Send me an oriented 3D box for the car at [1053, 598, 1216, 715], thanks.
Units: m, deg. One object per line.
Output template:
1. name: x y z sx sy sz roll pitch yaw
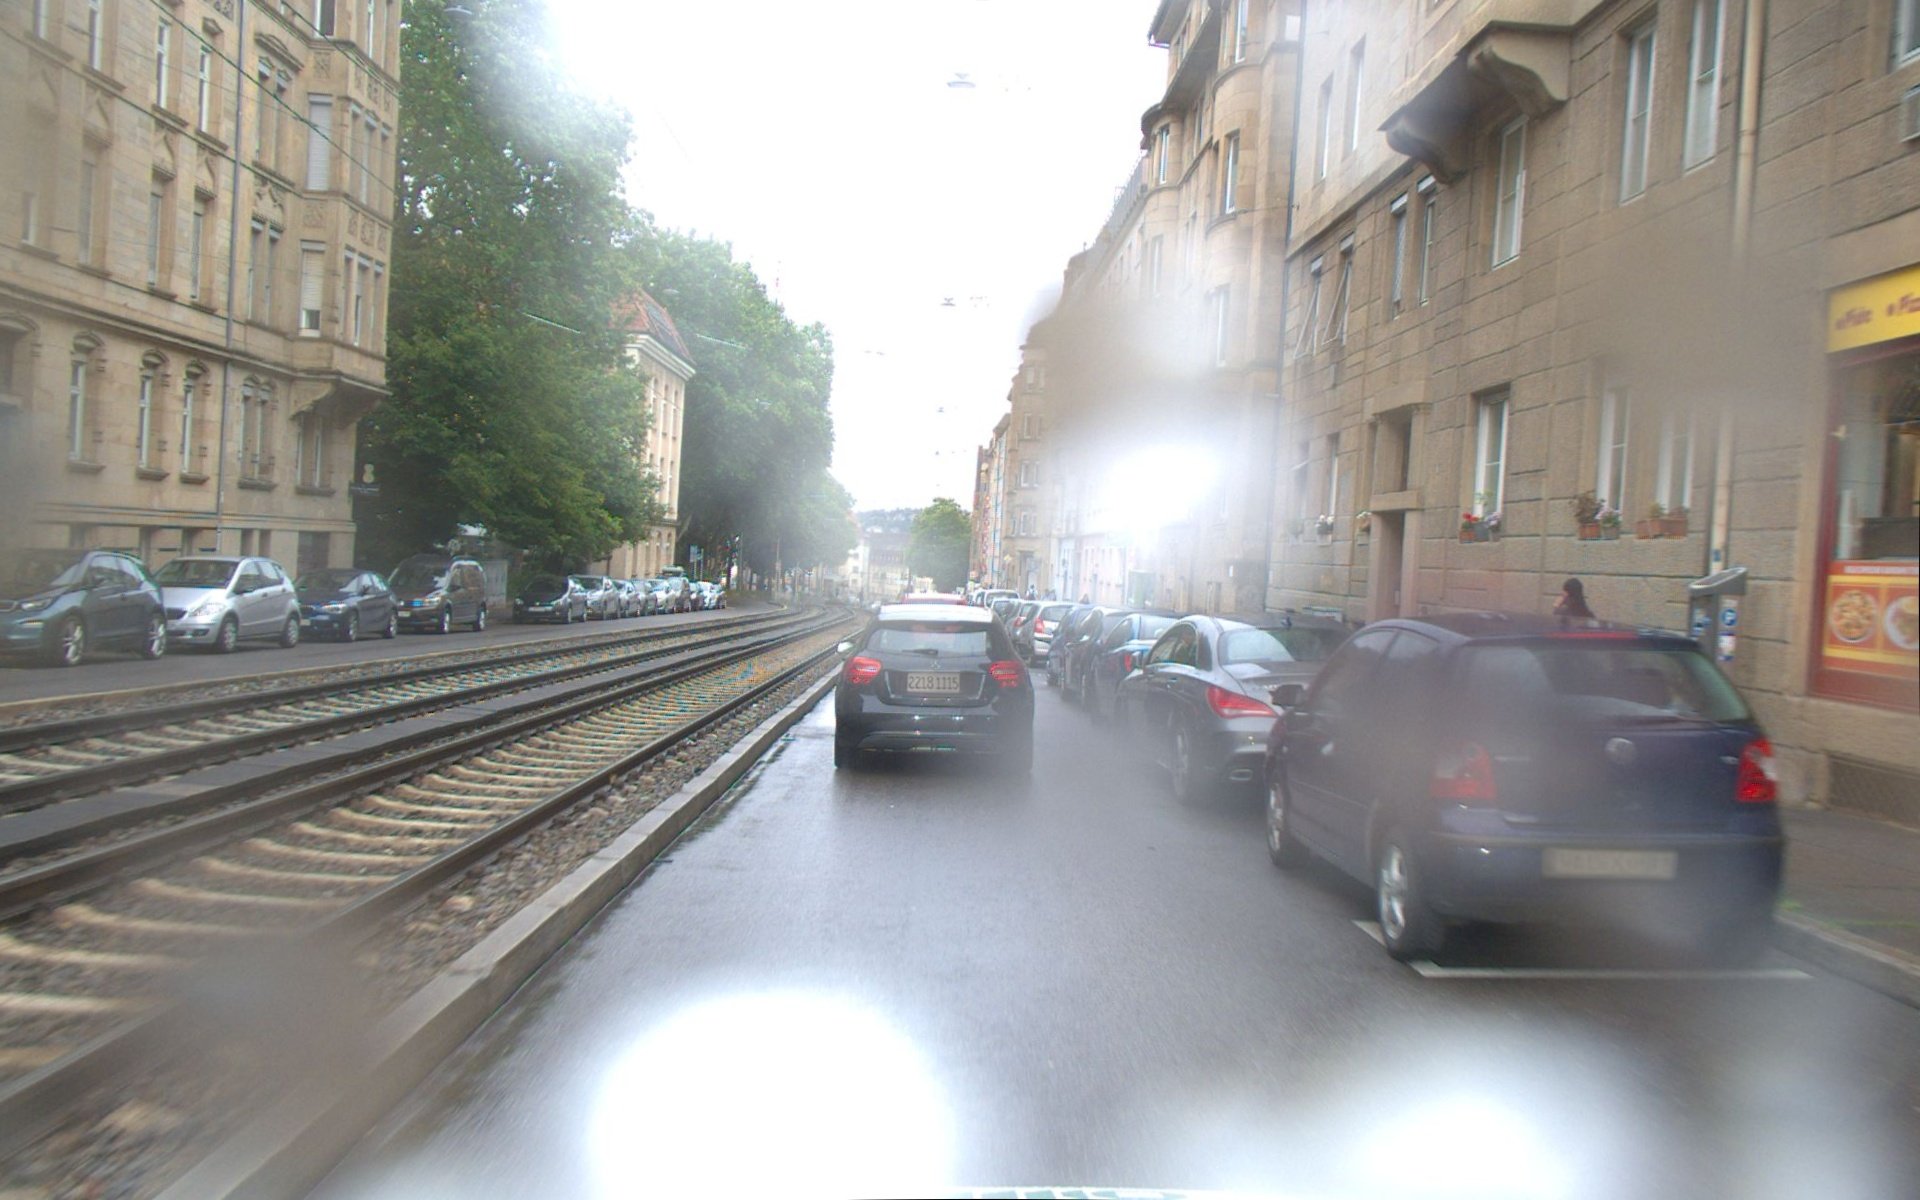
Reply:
1. car: 2.471 0.756 24.323 1.752 1.488 4.081 2 0 -2

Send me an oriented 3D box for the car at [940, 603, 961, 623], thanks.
1. car: -0.814 1.168 145.887 1.790 1.646 3.863 1 1 -1

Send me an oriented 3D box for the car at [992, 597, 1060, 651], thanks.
1. car: 1.929 0.681 49.240 1.636 1.434 4.310 2 0 -3

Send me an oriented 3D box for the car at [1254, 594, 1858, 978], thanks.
1. car: 2.663 0.720 8.341 1.637 1.469 3.790 1 0 -1

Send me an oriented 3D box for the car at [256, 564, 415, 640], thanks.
1. car: -12.683 0.028 33.852 1.727 1.422 4.268 1 0 -2

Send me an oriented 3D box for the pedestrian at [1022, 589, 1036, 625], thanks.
1. pedestrian: 3.601 0.337 86.236 0.730 1.866 1.039 0 0 0

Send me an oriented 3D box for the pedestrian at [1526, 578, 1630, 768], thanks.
1. pedestrian: 5.260 0.605 14.105 0.550 1.562 0.710 2 0 -1

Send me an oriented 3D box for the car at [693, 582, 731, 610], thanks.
1. car: -13.811 -0.231 92.324 1.582 1.454 3.851 2 1 -1

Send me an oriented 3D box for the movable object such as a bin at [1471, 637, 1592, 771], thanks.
1. movable object such as a bin: 5.210 0.927 15.136 0.651 1.122 1.123 3 0 -1

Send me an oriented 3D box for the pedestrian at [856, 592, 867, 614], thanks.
1. pedestrian: -7.756 0.240 129.839 0.789 1.662 0.892 1 0 -1

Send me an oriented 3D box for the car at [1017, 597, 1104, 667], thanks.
1. car: 2.281 0.702 38.216 1.559 1.459 3.682 2 0 -3

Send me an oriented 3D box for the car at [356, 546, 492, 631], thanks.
1. car: -12.883 -0.273 40.057 1.764 1.879 4.817 1 0 -1

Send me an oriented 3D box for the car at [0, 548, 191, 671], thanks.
1. car: -12.548 0.086 22.954 1.832 1.534 4.168 2 0 -1

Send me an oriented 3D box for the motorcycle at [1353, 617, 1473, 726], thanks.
1. motorcycle: 5.689 0.858 20.956 0.691 1.219 2.745 2 0 -1

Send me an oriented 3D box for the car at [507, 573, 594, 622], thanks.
1. car: -12.978 -0.092 52.698 1.812 1.489 4.548 1 0 -3

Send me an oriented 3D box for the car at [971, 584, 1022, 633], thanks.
1. car: 1.390 0.307 64.619 1.754 1.796 4.211 2 0 -2

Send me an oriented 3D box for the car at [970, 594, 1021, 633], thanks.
1. car: 1.461 0.551 69.596 1.834 1.481 4.901 2 0 -2

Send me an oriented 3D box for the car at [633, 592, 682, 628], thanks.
1. car: -13.340 0.413 73.184 1.508 1.531 4.153 1 0 -2

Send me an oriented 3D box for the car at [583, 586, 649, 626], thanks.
1. car: -13.041 0.218 62.899 1.719 1.438 4.152 1 0 -2

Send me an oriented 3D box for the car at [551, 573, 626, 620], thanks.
1. car: -13.027 -0.143 58.169 1.719 1.563 4.541 1 0 -2

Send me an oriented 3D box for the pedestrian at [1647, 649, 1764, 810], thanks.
1. pedestrian: 5.268 0.902 11.705 0.500 1.068 0.626 2 0 -1

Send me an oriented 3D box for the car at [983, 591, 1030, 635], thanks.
1. car: 1.677 0.451 60.157 1.538 1.487 3.599 2 0 -1

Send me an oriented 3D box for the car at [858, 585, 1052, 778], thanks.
1. car: -0.083 0.669 15.494 1.548 1.531 3.573 2 0 -2

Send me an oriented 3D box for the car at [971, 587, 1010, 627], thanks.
1. car: 1.447 0.316 79.551 1.791 1.781 4.467 2 0 0

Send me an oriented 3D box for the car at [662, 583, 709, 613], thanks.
1. car: -13.744 -0.096 83.057 1.640 1.438 4.010 1 0 0

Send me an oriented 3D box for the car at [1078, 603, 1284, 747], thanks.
1. car: 2.466 0.796 19.379 1.673 1.422 4.016 2 0 -2

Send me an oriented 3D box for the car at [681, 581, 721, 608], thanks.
1. car: -13.762 -0.299 88.017 1.469 1.415 3.987 1 0 0

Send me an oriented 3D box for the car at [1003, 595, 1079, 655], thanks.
1. car: 2.084 0.621 43.690 1.634 1.459 3.954 2 0 -2

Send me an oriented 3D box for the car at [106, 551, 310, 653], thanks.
1. car: -12.523 0.022 27.798 1.660 1.550 3.854 1 0 -1

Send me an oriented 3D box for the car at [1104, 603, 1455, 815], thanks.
1. car: 2.412 0.759 13.657 1.720 1.411 4.481 1 0 -4

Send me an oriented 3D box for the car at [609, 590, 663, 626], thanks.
1. car: -13.202 0.312 67.549 1.508 1.438 3.951 1 0 -2

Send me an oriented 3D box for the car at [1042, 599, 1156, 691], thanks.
1. car: 2.357 0.736 28.793 1.513 1.439 3.444 2 0 -2

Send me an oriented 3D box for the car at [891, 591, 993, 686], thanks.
1. car: -0.352 0.677 31.251 1.749 1.608 3.999 2 0 -1

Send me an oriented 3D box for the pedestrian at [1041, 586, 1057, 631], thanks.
1. pedestrian: 3.536 0.337 65.764 0.595 1.794 0.688 1 0 -2
